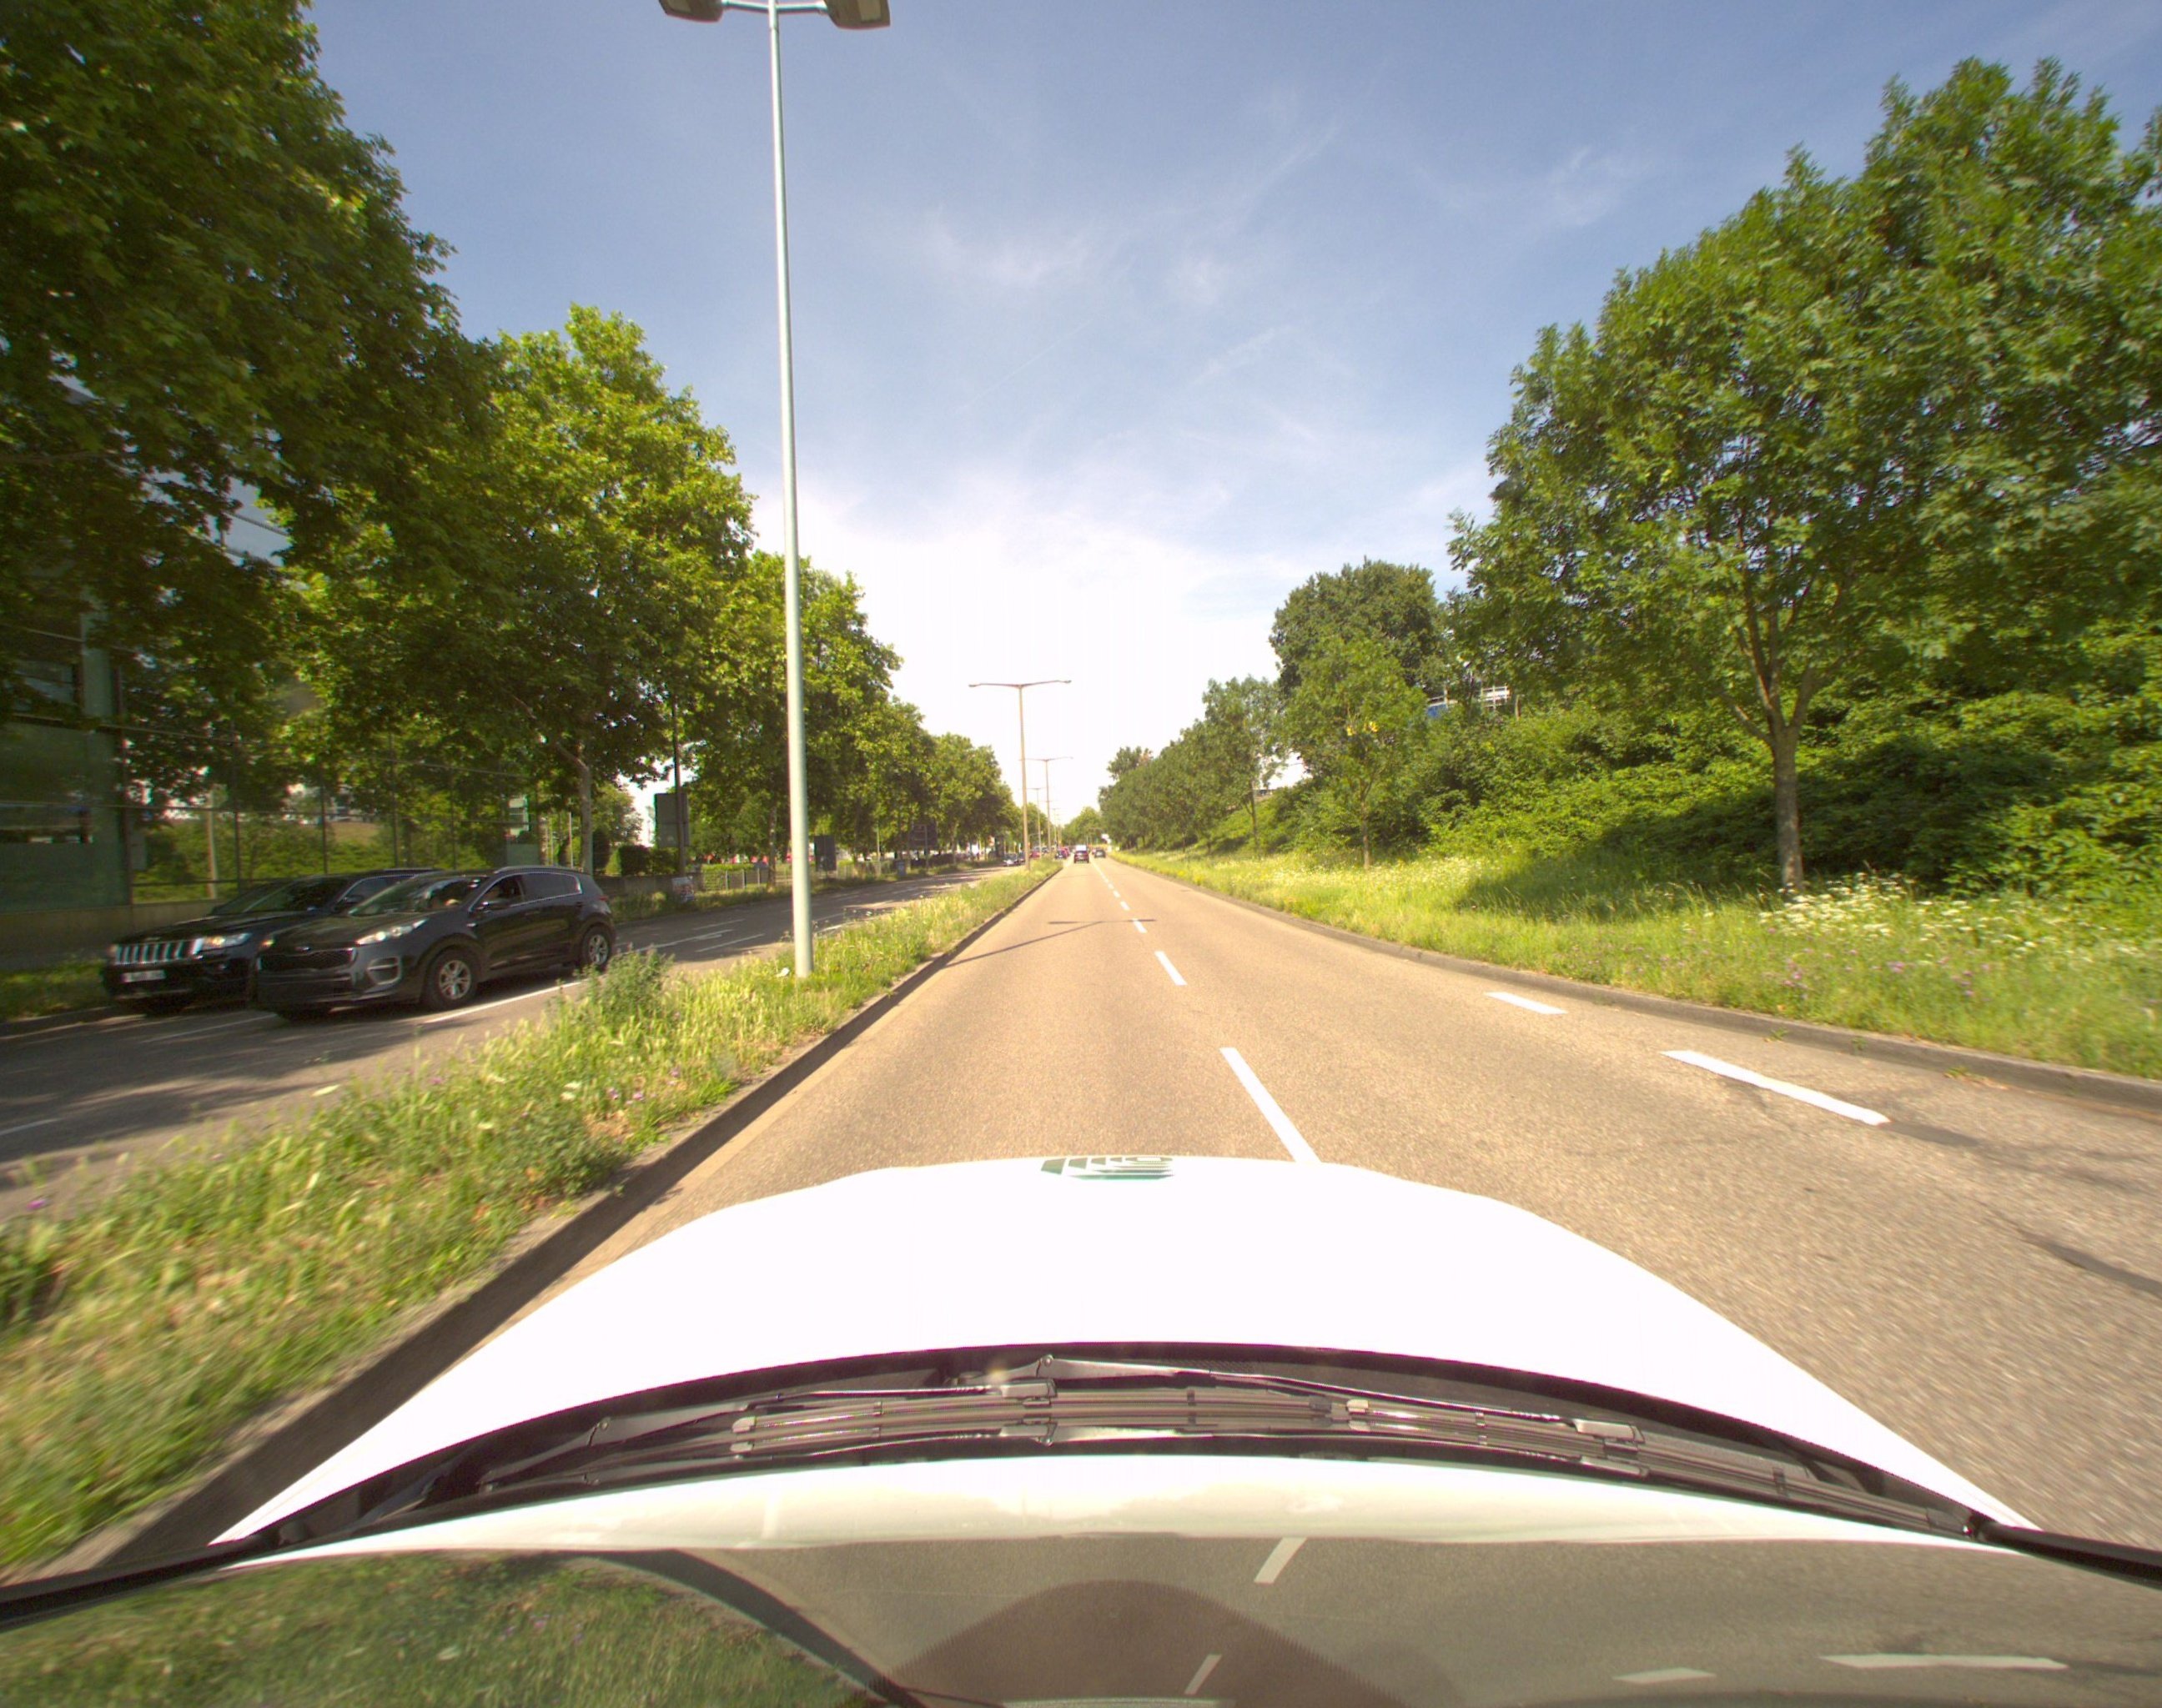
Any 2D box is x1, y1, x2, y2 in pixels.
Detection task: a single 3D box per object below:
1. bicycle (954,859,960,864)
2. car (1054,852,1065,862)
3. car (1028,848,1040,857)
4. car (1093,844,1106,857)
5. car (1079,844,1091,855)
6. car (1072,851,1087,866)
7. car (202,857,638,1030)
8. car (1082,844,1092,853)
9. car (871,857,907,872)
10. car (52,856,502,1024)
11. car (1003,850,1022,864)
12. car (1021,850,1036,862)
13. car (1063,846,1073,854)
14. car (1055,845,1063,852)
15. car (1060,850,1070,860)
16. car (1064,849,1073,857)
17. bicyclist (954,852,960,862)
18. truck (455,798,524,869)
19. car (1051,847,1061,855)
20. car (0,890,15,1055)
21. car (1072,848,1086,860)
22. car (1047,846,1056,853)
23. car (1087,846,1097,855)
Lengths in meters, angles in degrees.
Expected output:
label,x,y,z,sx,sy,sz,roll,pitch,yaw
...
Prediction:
label,x,y,z,sx,sy,sz,roll,pitch,yaw
bicycle,-20.179,1.192,132.808,0.687,0.866,1.926,-3,0,0
car,-3.268,0.474,123.498,1.621,1.483,4.047,0,0,-1
car,-8.503,-0.245,147.339,1.757,1.462,4.000,-4,0,1
car,2.997,-0.555,130.878,2.011,1.837,4.001,-2,3,0
car,0.760,-0.764,142.651,1.987,1.708,4.263,-2,0,0
car,-0.160,0.569,98.745,1.731,1.535,4.001,-2,3,0
car,-8.119,0.946,10.750,1.987,1.610,4.495,-3,1,0
car,1.390,-1.374,192.766,1.989,2.013,3.995,-2,0,-4
car,-24.534,1.346,104.140,3.970,1.823,2.158,-2,-1,3
car,-11.347,1.043,12.151,1.987,1.834,4.651,-3,1,0
car,-7.962,0.366,95.133,1.822,1.467,4.985,-3,0,-1
car,-7.340,0.274,114.140,1.766,1.467,4.671,-3,0,1
car,-2.522,-0.717,155.895,1.761,1.479,4.134,-1,0,-1
car,-5.870,-1.551,217.403,1.986,1.859,4.001,-2,0,1
car,-2.916,0.180,146.536,1.777,1.593,4.592,-1,0,0
car,-2.602,-0.202,170.073,1.875,1.618,4.211,-2,0,-1
bicyclist,-20.224,0.507,132.957,0.679,1.485,0.942,-3,0,0
truck,-32.010,-0.986,44.118,2.686,3.395,8.890,-2,0,-36
car,-5.411,-0.742,179.221,1.987,1.708,4.263,-2,0,0
car,-11.417,1.222,5.715,1.881,1.590,4.446,-4,0,1
car,-0.285,0.052,122.292,1.987,1.684,3.999,-2,1,0
car,-8.176,-1.259,224.325,1.986,1.775,4.003,-3,0,2
car,2.257,-0.687,166.738,1.987,1.708,4.263,-2,0,0
